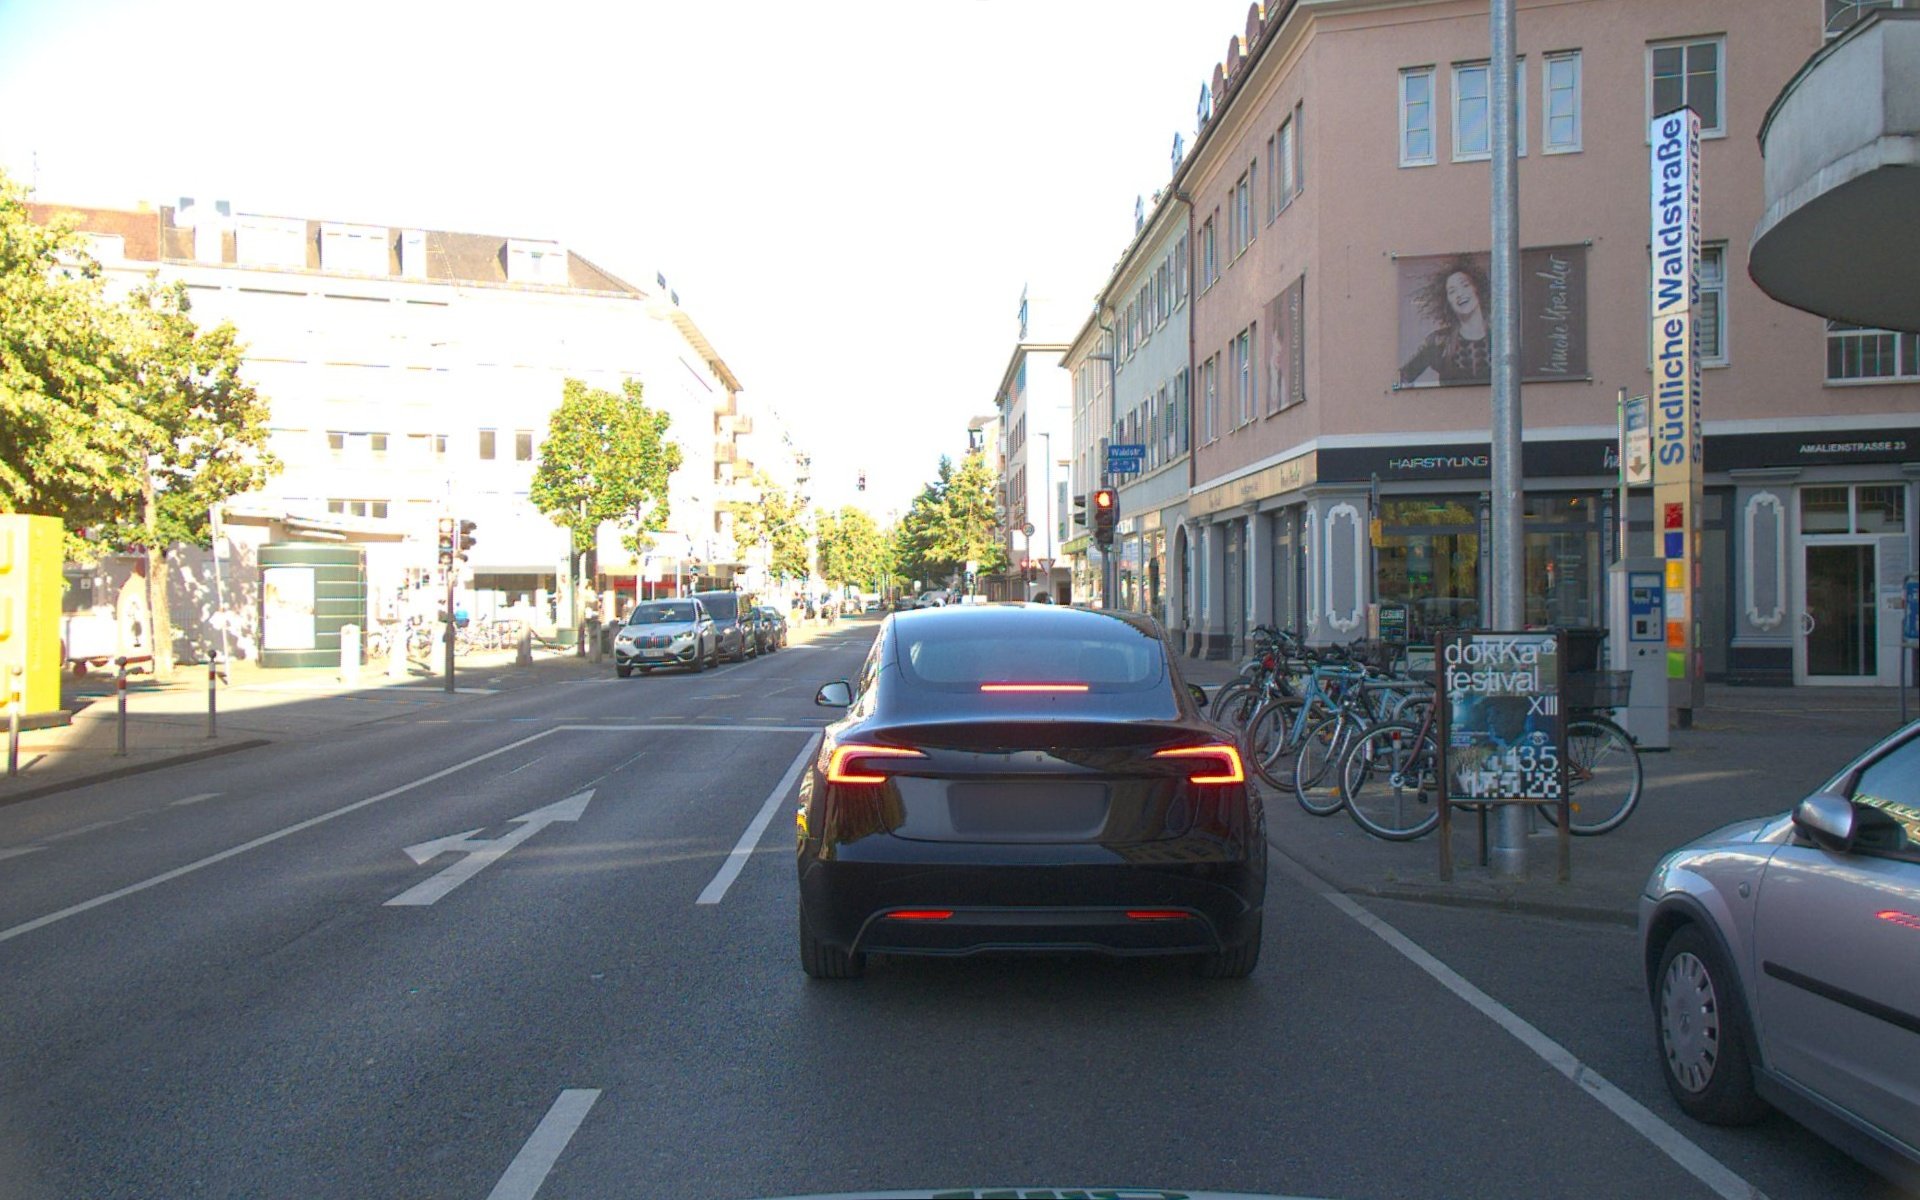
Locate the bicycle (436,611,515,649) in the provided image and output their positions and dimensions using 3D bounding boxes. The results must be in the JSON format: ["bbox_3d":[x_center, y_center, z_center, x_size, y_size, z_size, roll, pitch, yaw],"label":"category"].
[{"bbox_3d":[-15.212,0.945,51.963,2.279,1.176,0.841,0,0,-6],"label":"bicycle"}]

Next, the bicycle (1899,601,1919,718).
[{"bbox_3d":[10.280,0.624,16.998,0.645,1.220,2.212,0,0,18],"label":"bicycle"}]

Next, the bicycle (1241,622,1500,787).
[{"bbox_3d":[3.063,0.773,12.485,1.760,1.144,0.782,-2,0,5],"label":"bicycle"}]

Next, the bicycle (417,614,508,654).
[{"bbox_3d":[-14.888,1.019,49.540,2.485,1.176,0.841,0,0,-6],"label":"bicycle"}]

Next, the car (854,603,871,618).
[{"bbox_3d":[-11.001,1.199,186.868,1.954,1.666,3.997,0,0,-4],"label":"car"}]

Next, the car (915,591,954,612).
[{"bbox_3d":[-2.585,0.145,167.493,3.907,2.049,1.999,0,0,-2],"label":"car"}]

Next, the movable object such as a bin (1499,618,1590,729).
[{"bbox_3d":[6.029,0.751,17.080,0.718,1.111,0.627,1,0,1],"label":"movable object such as a bin"}]

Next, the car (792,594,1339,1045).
[{"bbox_3d":[0.321,0.727,7.474,1.810,1.480,3.999,0,0,-1],"label":"car"}]

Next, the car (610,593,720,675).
[{"bbox_3d":[-6.377,0.691,36.214,1.771,1.582,4.307,-4,0,-3],"label":"car"}]

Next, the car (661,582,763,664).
[{"bbox_3d":[-6.298,0.535,42.479,1.797,1.877,4.674,-4,0,0],"label":"car"}]

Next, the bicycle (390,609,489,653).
[{"bbox_3d":[-14.102,0.847,44.863,2.412,1.176,0.842,0,0,-2],"label":"bicycle"}]

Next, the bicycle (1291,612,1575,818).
[{"bbox_3d":[3.146,0.751,11.135,1.686,1.290,0.791,-2,0,5],"label":"bicycle"}]

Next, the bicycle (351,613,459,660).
[{"bbox_3d":[-14.188,0.928,42.330,2.455,1.176,0.842,0,0,-2],"label":"bicycle"}]

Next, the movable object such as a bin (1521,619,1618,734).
[{"bbox_3d":[6.050,0.749,16.443,0.737,1.111,0.627,1,0,1],"label":"movable object such as a bin"}]

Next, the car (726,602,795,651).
[{"bbox_3d":[-6.804,0.873,56.886,1.954,1.461,4.671,-4,0,-3],"label":"car"}]

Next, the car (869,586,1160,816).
[{"bbox_3d":[0.294,0.671,13.183,1.953,1.538,4.173,0,0,-2],"label":"car"}]

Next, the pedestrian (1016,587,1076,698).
[{"bbox_3d":[1.249,0.607,24.105,0.733,1.579,0.697,0,0,-10],"label":"pedestrian"}]

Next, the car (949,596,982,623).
[{"bbox_3d":[0.306,0.567,100.695,1.953,1.657,3.999,0,0,-1],"label":"car"}]

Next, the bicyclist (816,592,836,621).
[{"bbox_3d":[-7.719,0.368,95.470,1.104,1.657,0.964,0,0,-4],"label":"bicyclist"}]

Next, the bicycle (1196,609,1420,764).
[{"bbox_3d":[3.059,0.750,14.694,1.822,1.280,0.833,-2,0,5],"label":"bicycle"}]

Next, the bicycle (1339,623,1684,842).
[{"bbox_3d":[3.293,0.786,10.005,1.846,1.214,0.692,-2,1,5],"label":"bicycle"}]

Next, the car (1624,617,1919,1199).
[{"bbox_3d":[2.939,0.781,3.495,1.580,1.406,3.642,1,0,0],"label":"car"}]

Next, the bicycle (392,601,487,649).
[{"bbox_3d":[-14.710,0.702,46.786,2.429,1.347,0.921,0,0,-6],"label":"bicycle"}]

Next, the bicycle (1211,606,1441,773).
[{"bbox_3d":[2.994,0.723,13.663,1.709,1.289,0.781,-2,0,2],"label":"bicycle"}]

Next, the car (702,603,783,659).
[{"bbox_3d":[-6.420,0.886,49.300,1.954,1.434,4.671,-4,0,-3],"label":"car"}]

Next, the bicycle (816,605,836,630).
[{"bbox_3d":[-7.703,0.995,95.377,1.089,1.368,3.997,0,0,-4],"label":"bicycle"}]
